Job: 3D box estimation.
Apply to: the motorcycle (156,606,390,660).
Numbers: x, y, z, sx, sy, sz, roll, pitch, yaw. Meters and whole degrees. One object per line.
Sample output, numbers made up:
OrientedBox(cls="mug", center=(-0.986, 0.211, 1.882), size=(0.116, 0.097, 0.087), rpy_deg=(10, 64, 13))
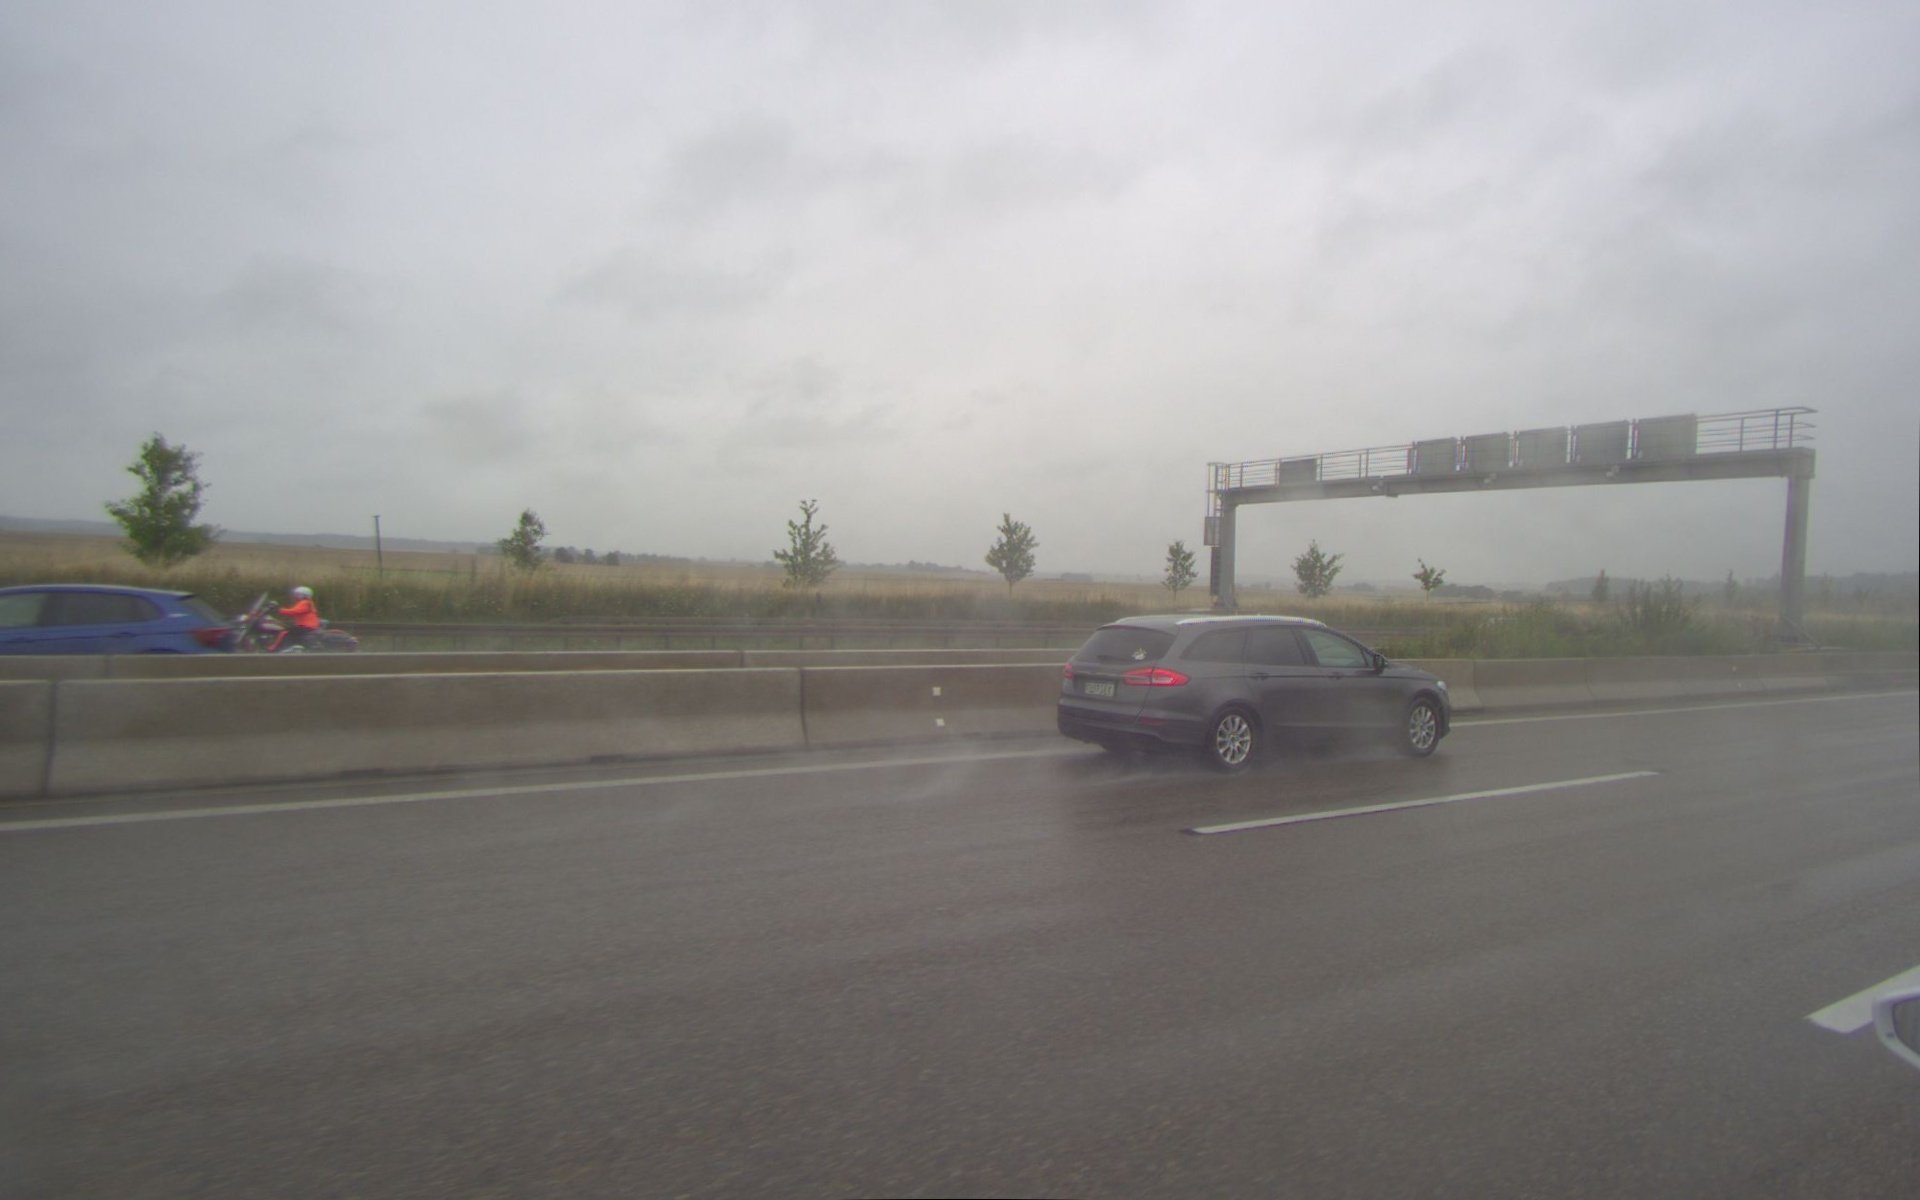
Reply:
OrientedBox(cls="motorcycle", center=(-12.636, 0.605, 18.688), size=(3.502, 0.925, 0.914), rpy_deg=(1, 0, -30))

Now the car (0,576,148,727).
OrientedBox(cls="car", center=(-11.512, 0.513, 10.813), size=(4.039, 1.595, 1.810), rpy_deg=(1, 0, -31))

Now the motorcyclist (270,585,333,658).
OrientedBox(cls="motorcyclist", center=(-12.340, 0.405, 18.855), size=(0.930, 1.325, 0.745), rpy_deg=(1, 0, -31))

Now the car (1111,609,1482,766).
OrientedBox(cls="car", center=(3.645, 0.827, 10.680), size=(3.956, 1.372, 1.604), rpy_deg=(1, 0, -32))
